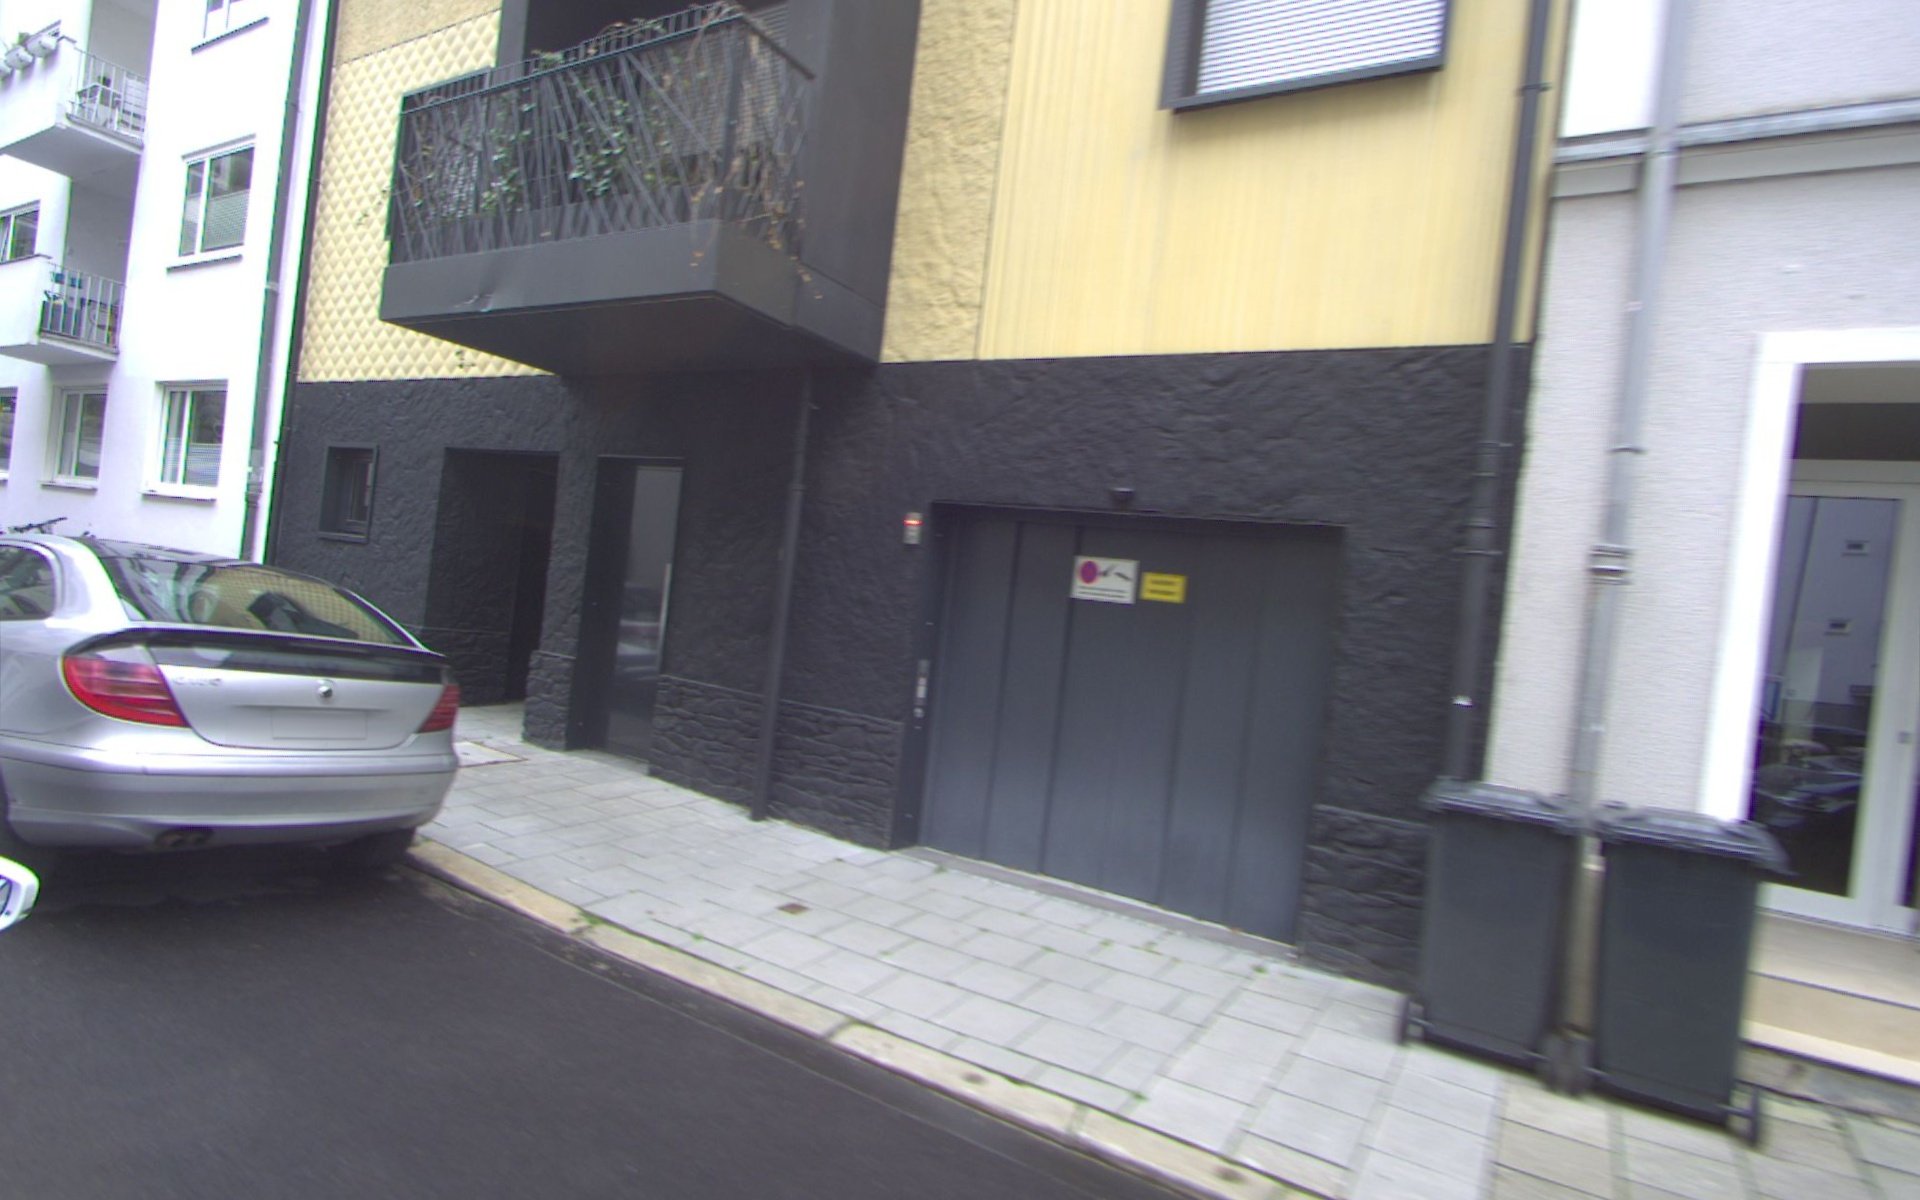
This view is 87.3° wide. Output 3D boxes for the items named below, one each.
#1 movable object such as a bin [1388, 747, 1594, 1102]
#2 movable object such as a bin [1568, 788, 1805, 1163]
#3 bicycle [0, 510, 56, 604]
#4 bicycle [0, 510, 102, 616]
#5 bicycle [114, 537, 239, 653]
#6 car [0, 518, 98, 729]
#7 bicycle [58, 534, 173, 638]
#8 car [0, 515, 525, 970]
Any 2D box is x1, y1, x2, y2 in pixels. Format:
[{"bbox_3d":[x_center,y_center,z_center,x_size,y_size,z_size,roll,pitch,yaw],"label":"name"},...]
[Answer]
[{"bbox_3d":[2.171,1.243,4.113,0.564,1.153,0.796,7,0,30],"label":"movable object such as a bin"},{"bbox_3d":[2.672,1.321,3.777,0.537,1.067,0.796,7,0,30],"label":"movable object such as a bin"},{"bbox_3d":[-12.992,-0.616,13.677,1.407,1.165,0.571,7,0,31],"label":"bicycle"},{"bbox_3d":[-11.706,-0.477,12.865,1.537,1.165,0.571,7,0,31],"label":"bicycle"},{"bbox_3d":[-8.481,-0.066,10.877,1.496,1.060,0.477,7,0,31],"label":"bicycle"},{"bbox_3d":[-8.655,-0.092,7.640,4.189,1.446,1.765,6,-4,30],"label":"car"},{"bbox_3d":[-9.817,-0.171,11.681,1.526,1.014,0.478,7,0,31],"label":"bicycle"},{"bbox_3d":[-4.369,0.377,5.138,4.132,1.447,1.737,6,-1,30],"label":"car"}]
